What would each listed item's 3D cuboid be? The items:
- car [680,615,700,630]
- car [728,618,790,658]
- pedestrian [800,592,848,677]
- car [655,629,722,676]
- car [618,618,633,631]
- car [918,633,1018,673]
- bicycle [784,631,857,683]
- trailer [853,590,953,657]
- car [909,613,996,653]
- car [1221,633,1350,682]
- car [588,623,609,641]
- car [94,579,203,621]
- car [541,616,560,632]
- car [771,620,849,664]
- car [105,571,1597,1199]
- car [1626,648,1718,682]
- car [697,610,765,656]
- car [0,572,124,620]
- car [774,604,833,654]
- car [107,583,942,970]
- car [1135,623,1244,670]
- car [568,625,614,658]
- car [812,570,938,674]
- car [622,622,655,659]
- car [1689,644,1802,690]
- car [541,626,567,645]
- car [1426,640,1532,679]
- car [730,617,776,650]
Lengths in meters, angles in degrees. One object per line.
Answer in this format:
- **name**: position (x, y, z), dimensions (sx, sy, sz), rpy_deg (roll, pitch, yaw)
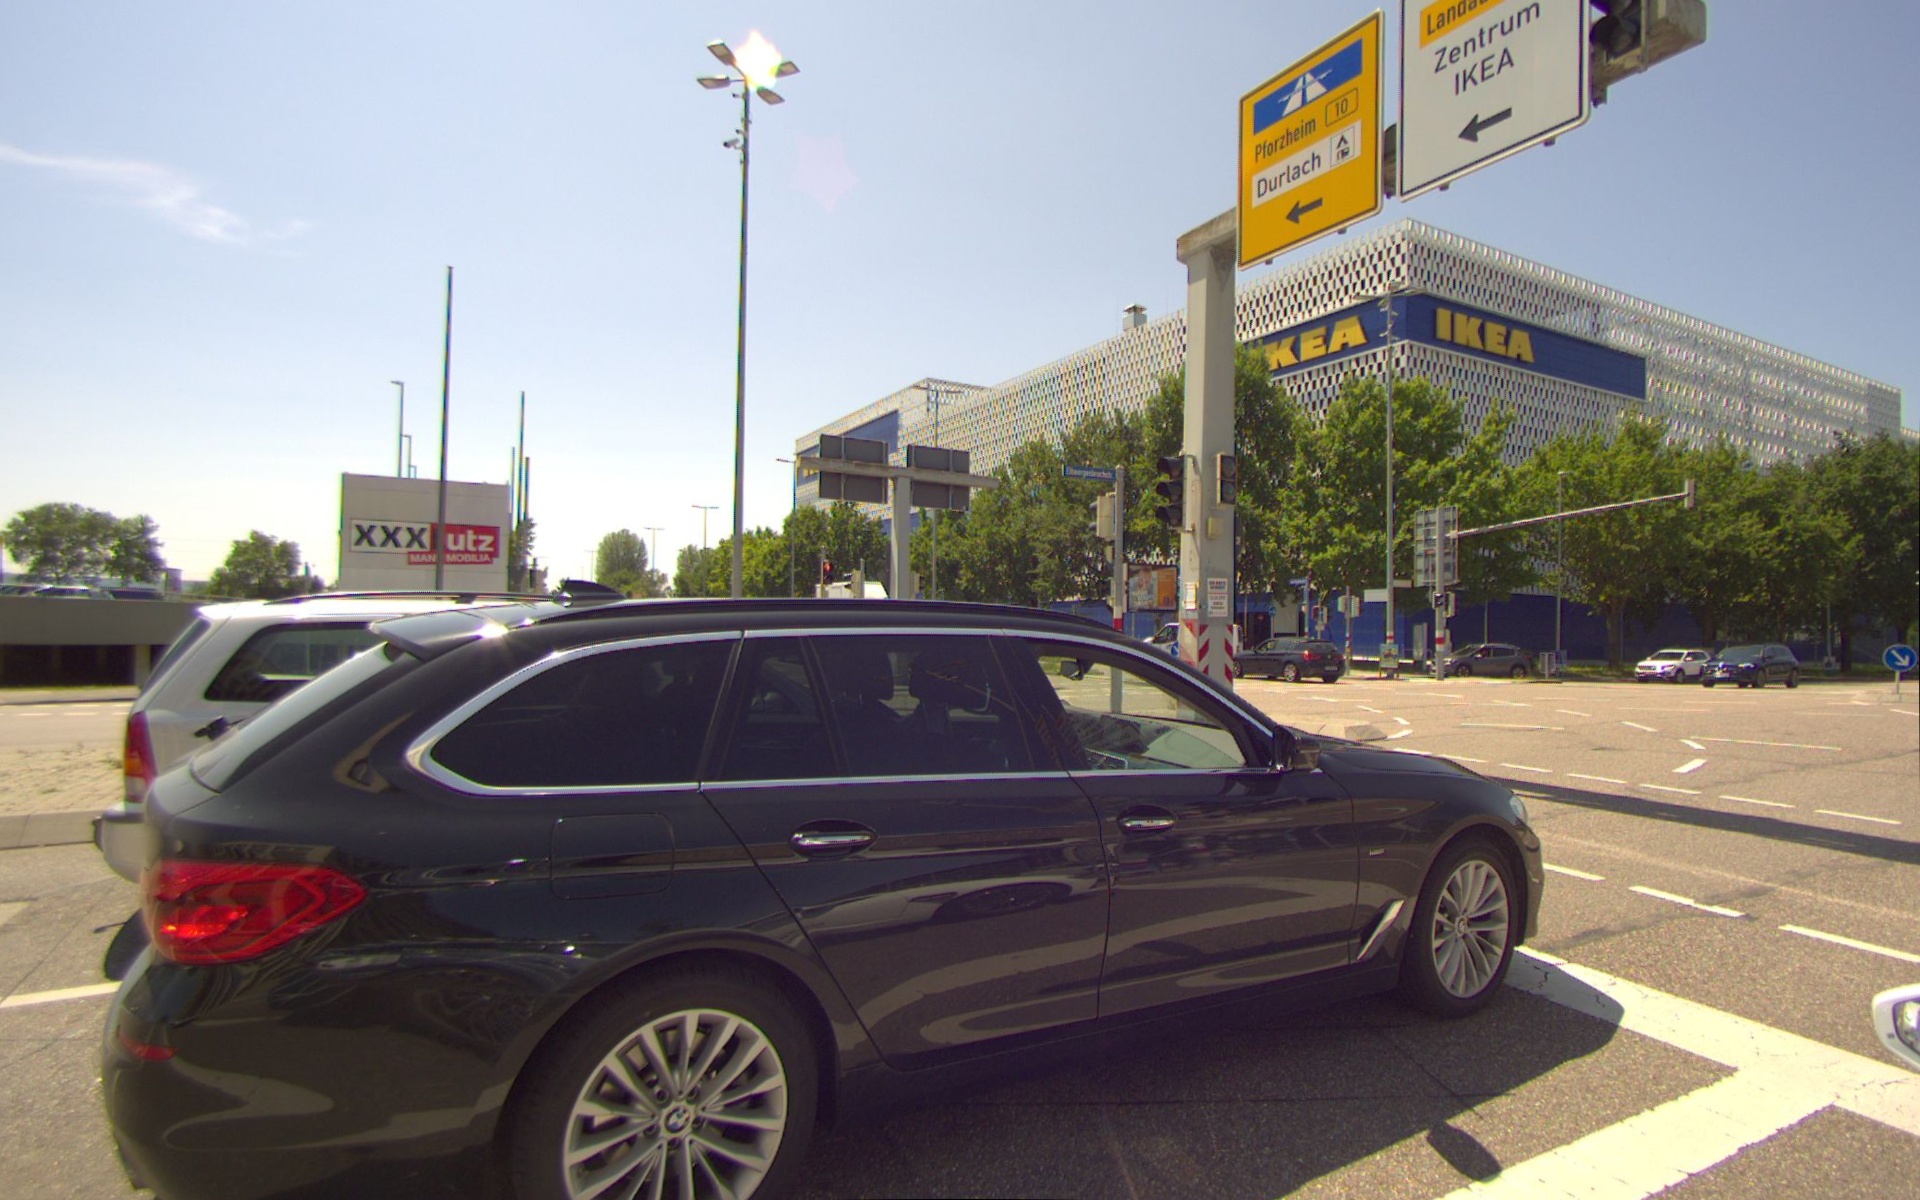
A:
- **car**: position (-38.543, 3.190, 143.201), dimensions (1.974, 2.040, 3.972), rpy_deg (2, -1, -27)
- **car**: position (-10.641, 2.002, 52.989), dimensions (1.975, 2.040, 4.681), rpy_deg (2, -2, -27)
- **pedestrian**: position (-3.369, 0.855, 24.890), dimensions (0.856, 2.040, 0.899), rpy_deg (1, -2, -35)
- **car**: position (-9.490, 1.798, 34.876), dimensions (1.904, 1.528, 3.982), rpy_deg (1, -2, -20)
- **car**: position (-52.345, 3.871, 157.272), dimensions (1.971, 2.040, 3.979), rpy_deg (2, -2, -22)
- **car**: position (0.229, 1.898, 36.659), dimensions (1.756, 1.360, 4.262), rpy_deg (1, -2, -30)
- **bicycle**: position (-3.505, 1.392, 25.091), dimensions (0.987, 1.229, 2.079), rpy_deg (2, -2, -35)
- **trailer**: position (-4.021, 1.622, 67.732), dimensions (3.055, 4.135, 9.577), rpy_deg (2, -2, -27)
- **car**: position (-0.441, 1.742, 51.074), dimensions (1.984, 1.608, 4.644), rpy_deg (4, -9, -39)
- **car**: position (10.374, 1.815, 32.343), dimensions (1.648, 1.429, 4.215), rpy_deg (2, -2, -22)
- **car**: position (-43.874, 3.868, 121.874), dimensions (1.906, 2.040, 3.971), rpy_deg (2, -2, -28)
- **car**: position (-40.412, 0.053, 50.130), dimensions (3.956, 1.933, 1.983), rpy_deg (2, -2, -32)
- **car**: position (-72.624, 4.247, 177.987), dimensions (2.877, 2.724, 6.126), rpy_deg (2, -2, -24)
- **car**: position (-6.803, 1.856, 45.013), dimensions (1.973, 1.835, 5.438), rpy_deg (1, -2, -25)
- **car**: position (0.126, 0.748, 3.585), dimensions (4.570, 1.485, 1.791), rpy_deg (1, -1, -31)
- **car**: position (32.819, 2.990, 46.294), dimensions (4.012, 1.476, 1.618), rpy_deg (2, -2, -23)
- **car**: position (-13.784, 1.962, 60.068), dimensions (2.542, 2.568, 6.587), rpy_deg (2, -2, -26)
- **car**: position (-39.436, -0.146, 44.022), dimensions (3.953, 1.957, 1.984), rpy_deg (2, -2, -30)
- **car**: position (-8.829, 1.614, 56.429), dimensions (2.032, 2.665, 4.652), rpy_deg (0, -2, -26)
- **car**: position (-2.236, 0.746, 5.840), dimensions (3.961, 1.514, 1.785), rpy_deg (2, -1, -36)
- **car**: position (10.628, 2.126, 46.526), dimensions (4.672, 2.034, 2.000), rpy_deg (0, -2, 23)
- **car**: position (-23.239, 2.603, 63.222), dimensions (1.815, 2.040, 3.963), rpy_deg (2, -2, -34)
- **car**: position (-3.344, 0.822, 37.552), dimensions (2.156, 3.532, 6.875), rpy_deg (0, -1, -28)
- **car**: position (-18.233, 2.276, 56.850), dimensions (1.594, 2.040, 3.863), rpy_deg (1, -2, -20)
- **car**: position (29.778, 2.524, 38.049), dimensions (4.444, 1.619, 1.866), rpy_deg (2, -3, -30)
- **car**: position (-36.278, 3.154, 89.672), dimensions (1.718, 1.708, 3.642), rpy_deg (2, -2, -28)
- **car**: position (22.477, 2.557, 43.557), dimensions (3.681, 1.553, 1.776), rpy_deg (2, -2, -1)
- **car**: position (-13.410, 2.173, 64.983), dimensions (1.974, 2.014, 3.974), rpy_deg (2, -3, -26)
